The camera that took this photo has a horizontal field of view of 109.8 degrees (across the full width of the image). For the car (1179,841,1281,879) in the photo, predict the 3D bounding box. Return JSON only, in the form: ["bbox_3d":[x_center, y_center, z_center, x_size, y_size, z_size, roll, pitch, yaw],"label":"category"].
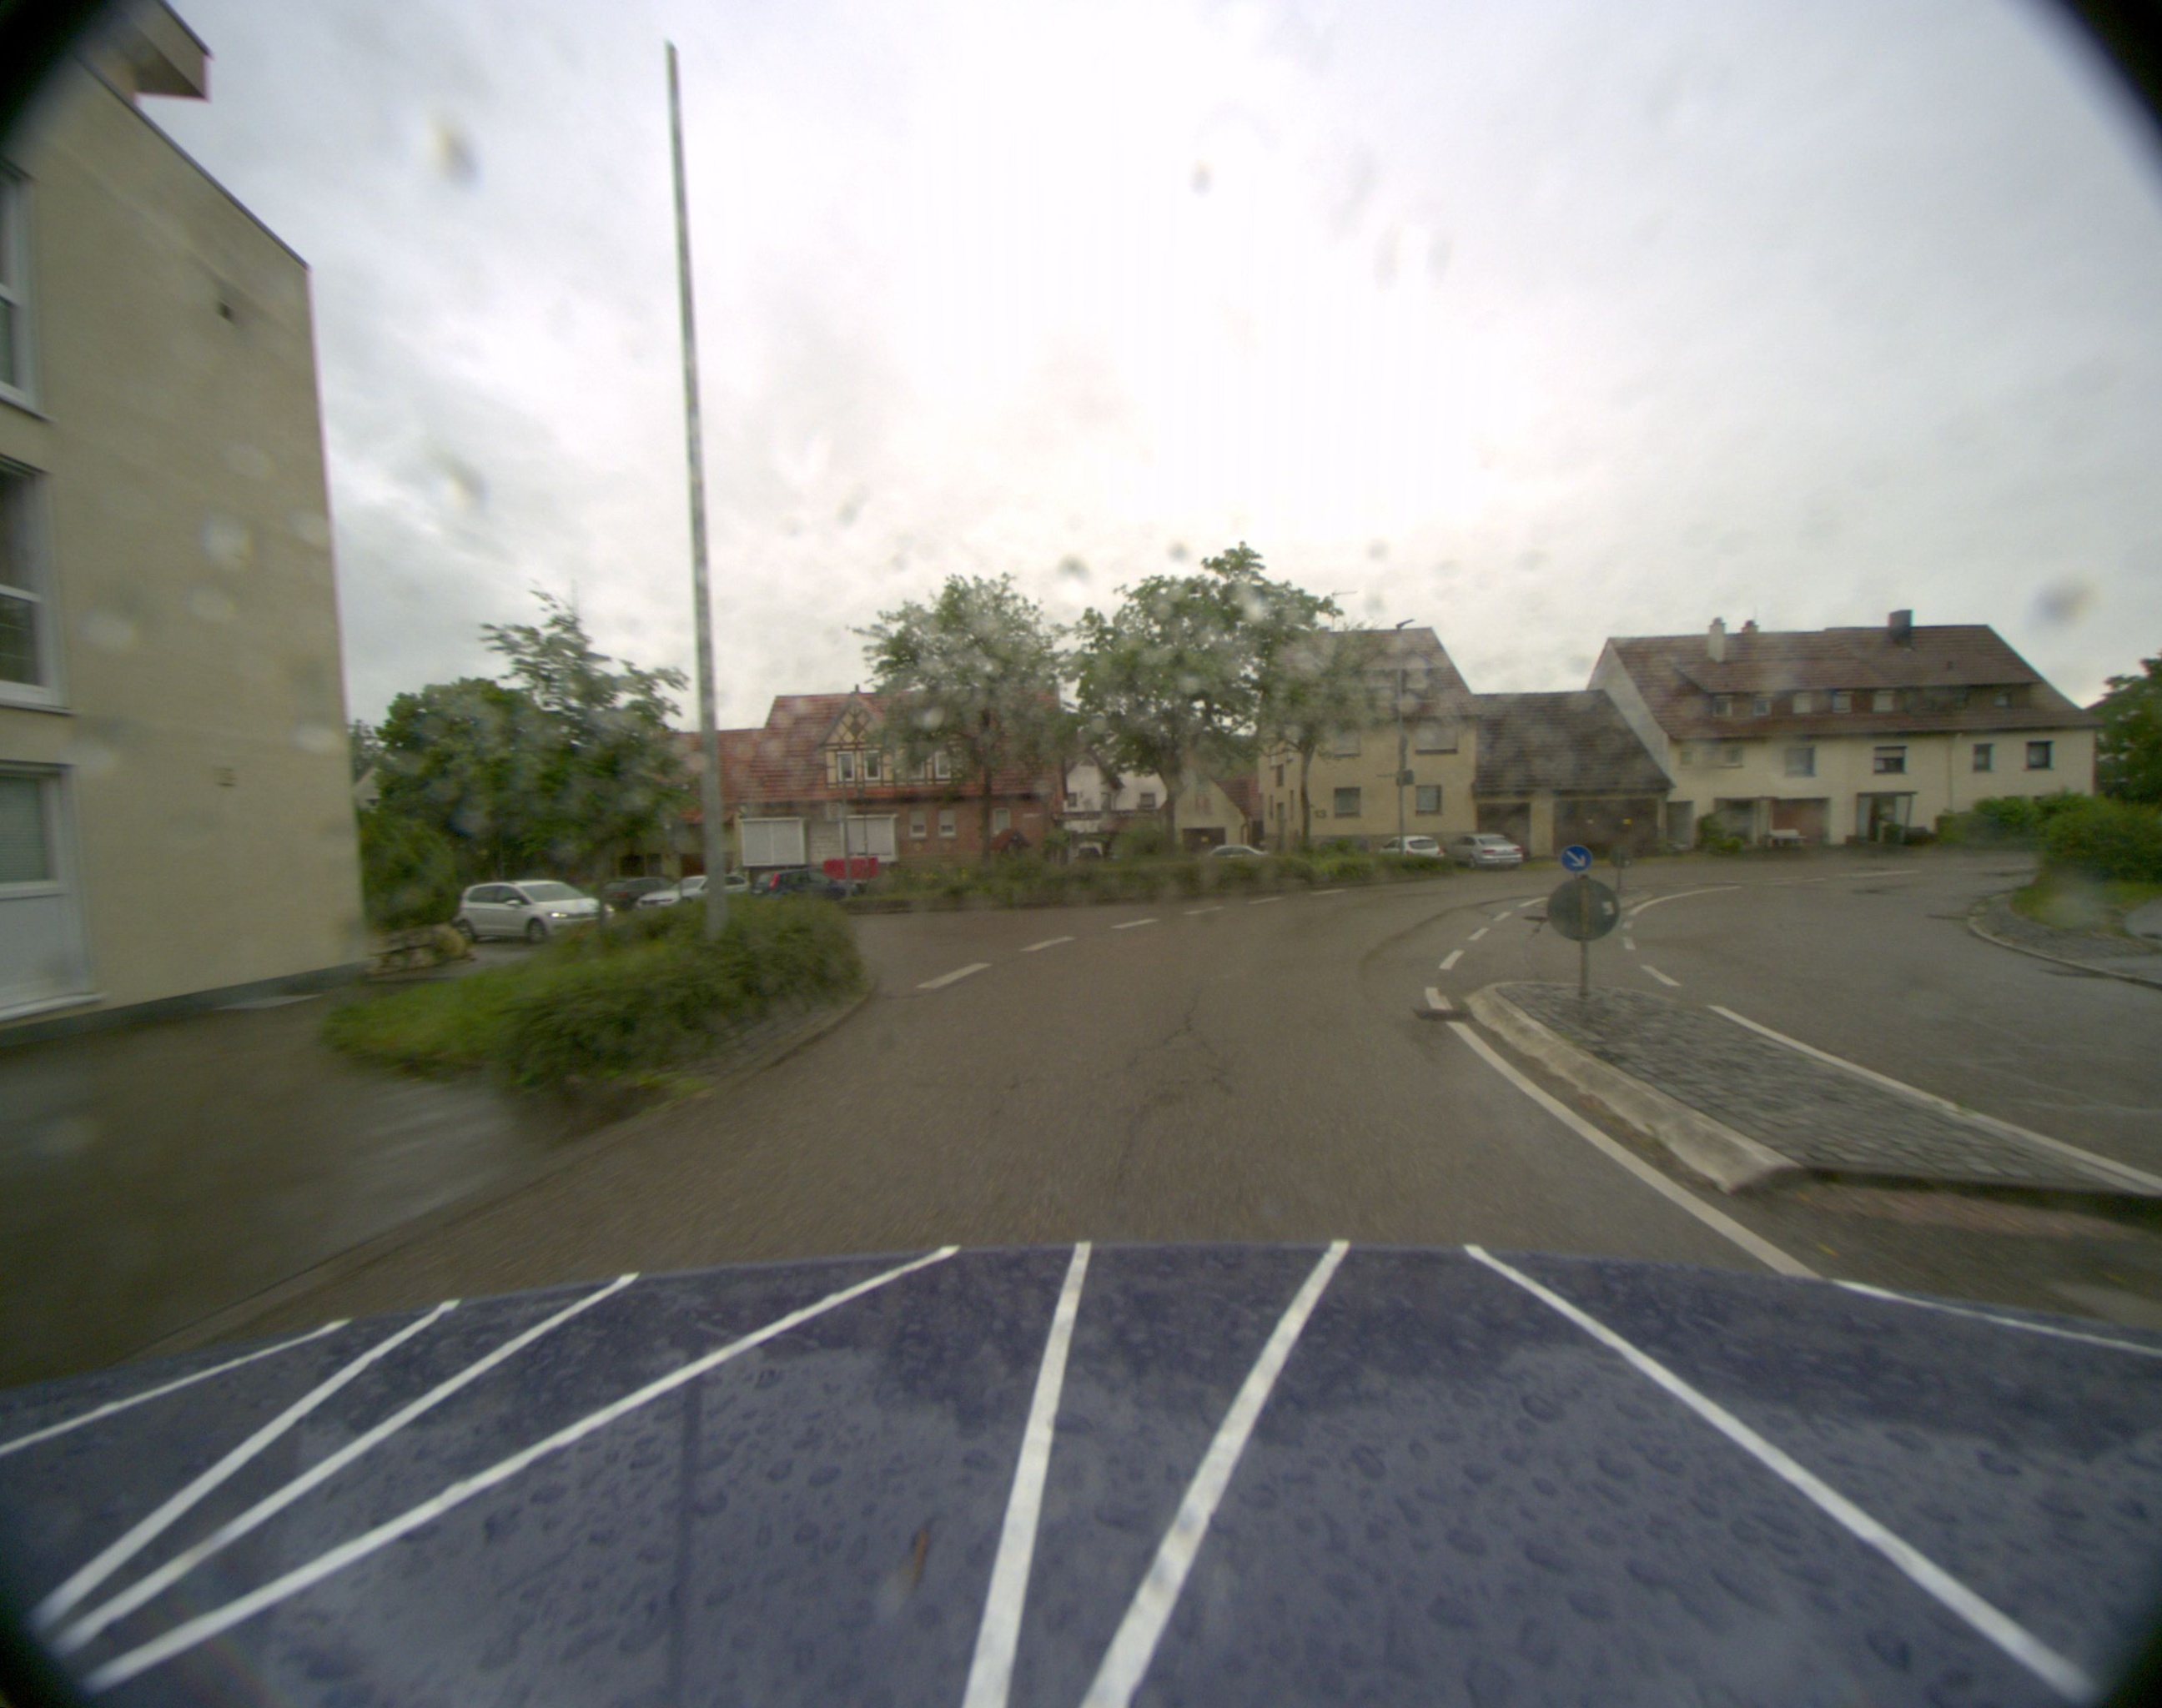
[{"bbox_3d":[6.566,0.249,33.842,4.261,1.431,1.907,-2,3,4],"label":"car"}]

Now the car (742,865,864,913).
[{"bbox_3d":[-9.956,1.210,27.424,1.619,1.382,3.741,-1,2,40],"label":"car"}]

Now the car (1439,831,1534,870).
[{"bbox_3d":[17.426,-0.223,32.907,1.819,1.407,4.626,-2,3,2],"label":"car"}]

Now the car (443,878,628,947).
[{"bbox_3d":[-14.013,1.475,19.531,4.140,1.527,1.759,-2,2,20],"label":"car"}]

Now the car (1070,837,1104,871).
[{"bbox_3d":[0.362,-0.046,48.768,1.599,2.002,3.996,-3,2,-7],"label":"car"}]

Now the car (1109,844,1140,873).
[{"bbox_3d":[2.431,0.219,42.325,1.600,1.488,4.000,-2,1,3],"label":"car"}]

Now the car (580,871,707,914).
[{"bbox_3d":[-16.882,1.470,29.569,1.876,1.368,4.005,-2,1,18],"label":"car"}]

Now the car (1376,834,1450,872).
[{"bbox_3d":[14.495,-0.067,33.333,1.717,1.521,3.430,-2,2,0],"label":"car"}]

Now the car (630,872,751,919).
[{"bbox_3d":[-14.430,1.503,28.368,1.620,1.382,4.004,-2,2,17],"label":"car"}]

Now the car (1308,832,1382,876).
[{"bbox_3d":[11.577,-0.054,33.567,1.747,1.574,3.996,-3,4,-2],"label":"car"}]

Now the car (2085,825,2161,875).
[{"bbox_3d":[38.656,-0.203,26.693,3.997,1.522,1.998,-2,5,1],"label":"car"}]

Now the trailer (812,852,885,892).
[{"bbox_3d":[-10.394,0.803,34.115,2.721,1.640,1.413,-2,1,9],"label":"trailer"}]
